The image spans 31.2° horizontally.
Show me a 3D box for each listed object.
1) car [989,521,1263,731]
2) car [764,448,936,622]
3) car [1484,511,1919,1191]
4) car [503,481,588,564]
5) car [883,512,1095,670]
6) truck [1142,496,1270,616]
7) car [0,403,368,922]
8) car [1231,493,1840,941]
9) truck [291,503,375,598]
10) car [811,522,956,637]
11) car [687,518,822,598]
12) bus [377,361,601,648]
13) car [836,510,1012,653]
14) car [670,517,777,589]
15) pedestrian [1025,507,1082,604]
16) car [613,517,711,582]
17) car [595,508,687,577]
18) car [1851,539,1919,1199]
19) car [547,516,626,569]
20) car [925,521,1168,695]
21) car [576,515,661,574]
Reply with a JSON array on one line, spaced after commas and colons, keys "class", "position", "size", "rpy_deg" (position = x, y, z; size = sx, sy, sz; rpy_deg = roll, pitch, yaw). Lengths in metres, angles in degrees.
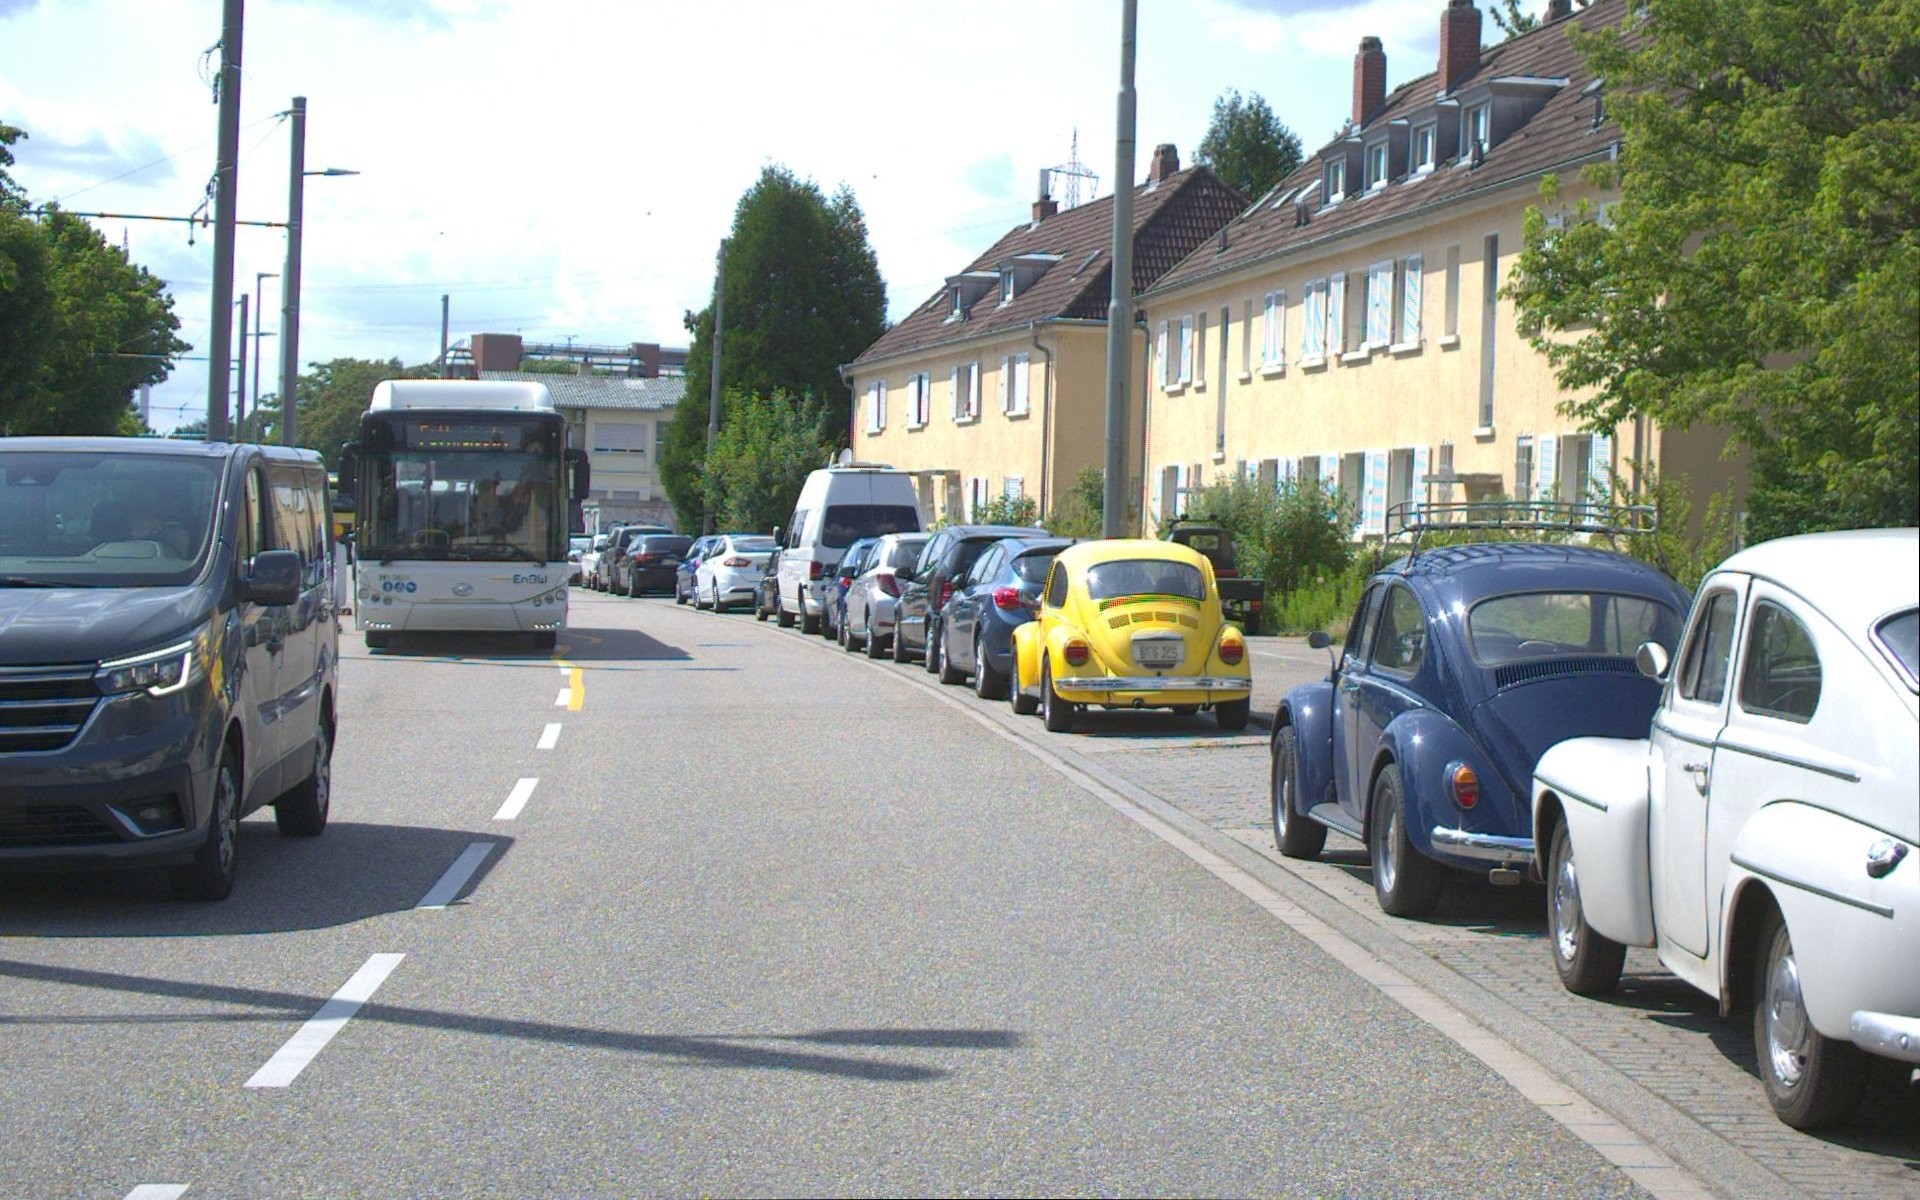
[{"class": "car", "position": [1.254, 0.147, 27.511], "size": [1.636, 1.477, 3.932], "rpy_deg": [-1, 2, -5]}, {"class": "car", "position": [-1.733, -0.991, 52.149], "size": [1.929, 2.472, 5.519], "rpy_deg": [1, 1, -9]}, {"class": "car", "position": [2.736, 0.533, 9.876], "size": [1.577, 1.507, 4.460], "rpy_deg": [2, 1, -2]}, {"class": "car", "position": [-12.795, -2.405, 105.761], "size": [1.959, 2.470, 6.062], "rpy_deg": [0, 2, -13]}, {"class": "car", "position": [0.267, -0.139, 38.111], "size": [1.636, 1.597, 3.933], "rpy_deg": [2, 1, -9]}, {"class": "truck", "position": [3.589, -0.644, 50.417], "size": [1.346, 1.683, 2.442], "rpy_deg": [2, 1, -8]}, {"class": "car", "position": [-3.965, 0.168, 15.660], "size": [1.955, 1.959, 5.294], "rpy_deg": [1, 1, -4]}, {"class": "car", "position": [2.329, 0.393, 15.004], "size": [1.548, 1.635, 4.247], "rpy_deg": [2, 1, -5]}, {"class": "truck", "position": [-23.455, -1.883, 128.425], "size": [2.559, 3.447, 7.152], "rpy_deg": [0, 2, -15]}, {"class": "car", "position": [-1.080, -0.308, 46.835], "size": [1.536, 1.440, 3.738], "rpy_deg": [2, 1, -7]}, {"class": "car", "position": [-3.905, -0.795, 64.754], "size": [1.798, 1.453, 4.767], "rpy_deg": [0, 1, -13]}, {"class": "bus", "position": [-6.555, -1.292, 46.999], "size": [2.635, 3.400, 12.252], "rpy_deg": [0, 1, -9]}, {"class": "car", "position": [-0.489, -0.266, 42.135], "size": [1.636, 1.597, 4.030], "rpy_deg": [2, 1, -7]}, {"class": "car", "position": [-4.856, -0.980, 70.183], "size": [1.620, 1.412, 4.001], "rpy_deg": [0, 2, -12]}, {"class": "pedestrian", "position": [1.633, -0.784, 60.325], "size": [0.853, 1.646, 0.637], "rpy_deg": [2, 1, -7]}, {"class": "car", "position": [-6.850, -1.176, 78.835], "size": [1.763, 1.412, 4.001], "rpy_deg": [0, 2, -12]}, {"class": "car", "position": [-7.809, -1.425, 83.901], "size": [1.763, 1.637, 4.001], "rpy_deg": [0, 2, -12]}, {"class": "car", "position": [2.820, 0.677, 4.781], "size": [1.706, 1.444, 4.836], "rpy_deg": [2, 1, -2]}, {"class": "car", "position": [-10.312, -1.600, 94.769], "size": [1.763, 1.434, 4.001], "rpy_deg": [0, 2, -12]}, {"class": "car", "position": [0.756, 0.030, 32.718], "size": [1.636, 1.477, 4.125], "rpy_deg": [2, 1, -7]}, {"class": "car", "position": [-8.827, -1.441, 88.712], "size": [1.763, 1.471, 4.001], "rpy_deg": [0, 2, -12]}]
